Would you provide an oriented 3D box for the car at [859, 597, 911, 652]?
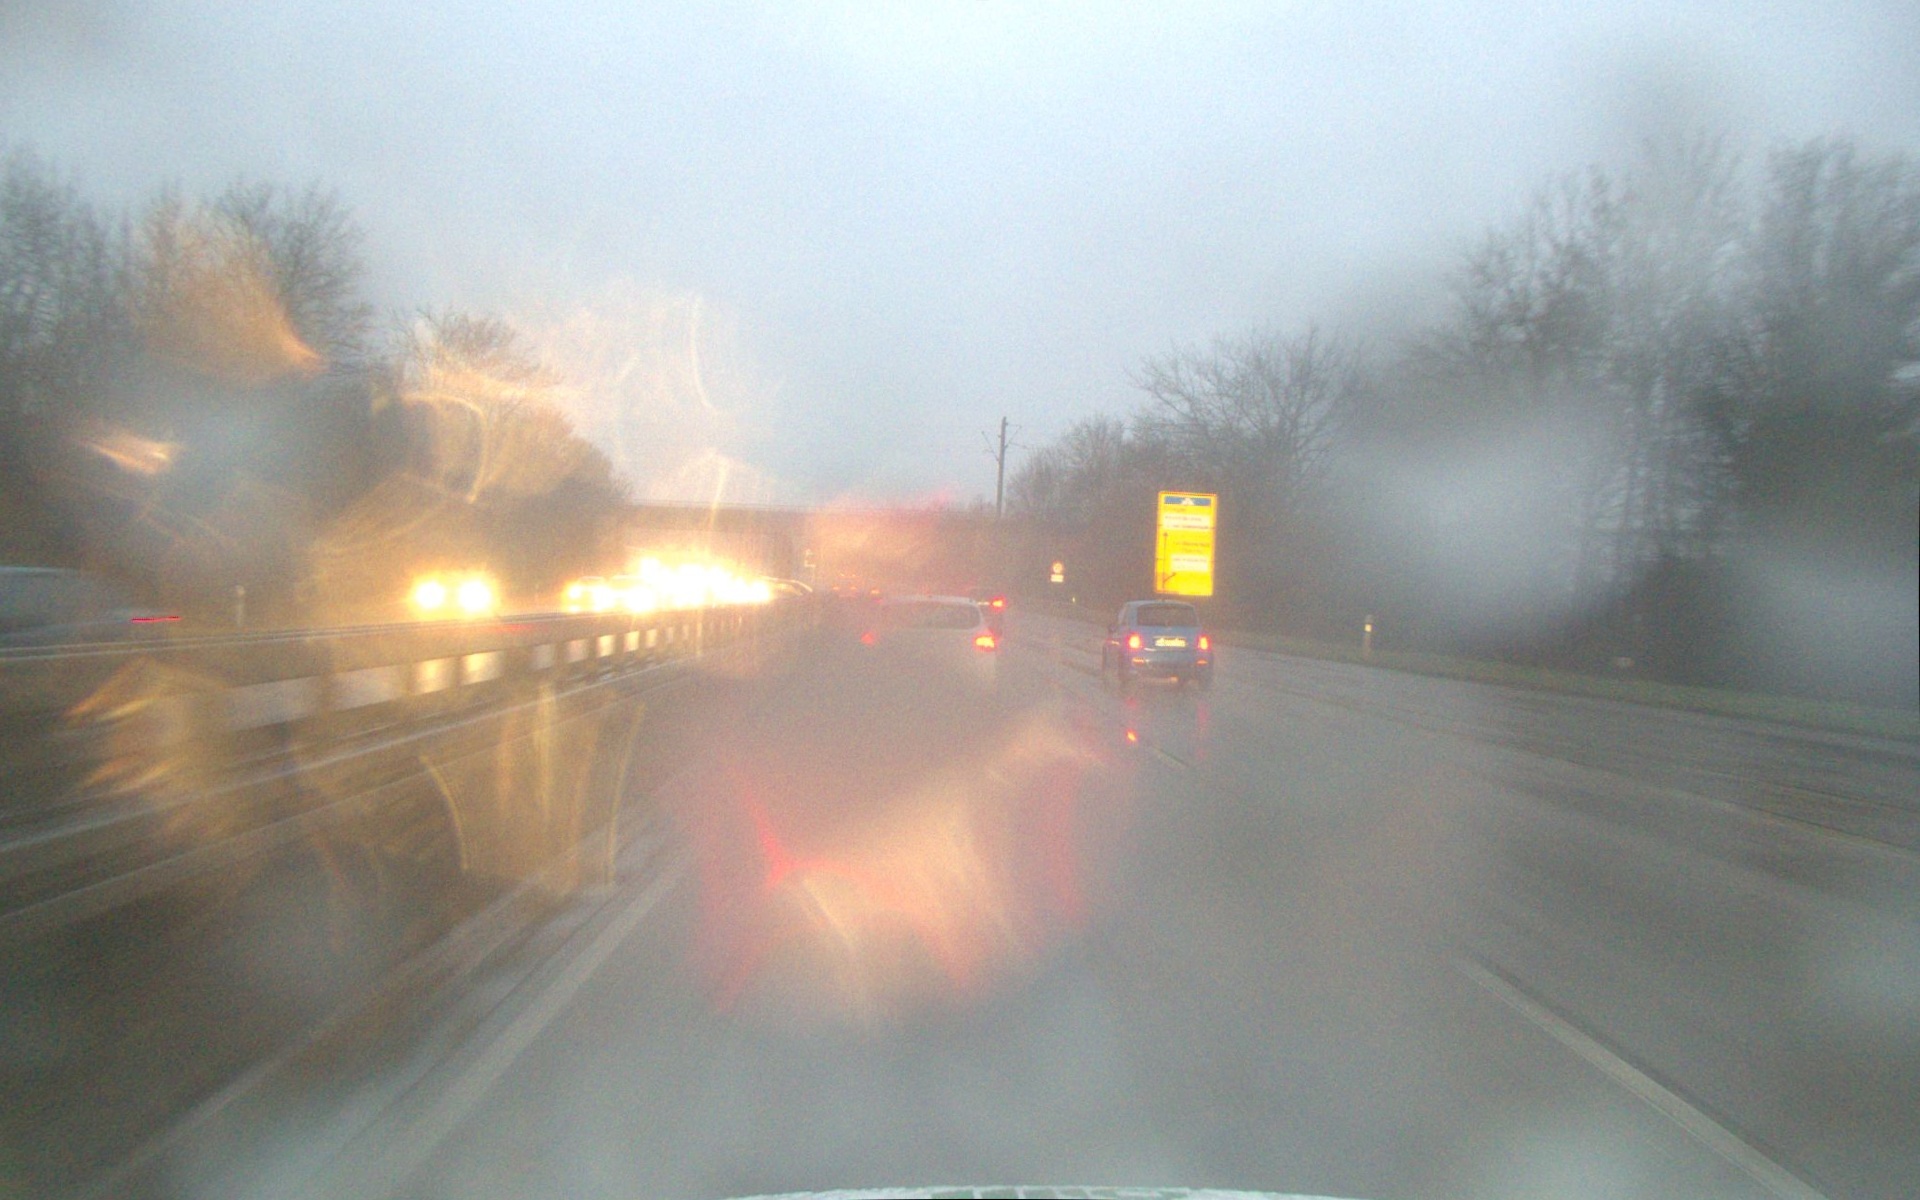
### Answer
[{"bbox_3d":[-3.011,0.931,65.832,1.954,2.049,3.997,2,0,-3],"label":"car"}]

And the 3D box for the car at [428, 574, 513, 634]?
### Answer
[{"bbox_3d":[-16.457,0.143,55.811,1.844,1.864,4.780,2,0,-6],"label":"car"}]

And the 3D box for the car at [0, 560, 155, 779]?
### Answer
[{"bbox_3d":[-7.600,0.454,11.762,1.747,1.536,4.134,2,0,-1],"label":"car"}]

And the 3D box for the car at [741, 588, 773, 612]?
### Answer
[{"bbox_3d":[-13.185,0.007,107.467,1.719,1.466,3.998,2,0,-3],"label":"car"}]

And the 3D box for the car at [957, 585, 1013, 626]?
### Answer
[{"bbox_3d":[1.028,0.259,70.385,1.896,1.573,3.768,-4,-1,-6],"label":"car"}]

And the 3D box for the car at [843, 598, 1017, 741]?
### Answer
[{"bbox_3d":[-0.315,0.822,21.336,1.983,1.602,4.000,2,0,1],"label":"car"}]

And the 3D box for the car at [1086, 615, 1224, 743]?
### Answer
[{"bbox_3d":[3.441,1.354,29.850,1.893,2.054,3.772,2,0,-1],"label":"car"}]

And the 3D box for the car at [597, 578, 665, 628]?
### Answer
[{"bbox_3d":[-12.976,0.118,65.478,1.845,1.864,4.785,2,0,-2],"label":"car"}]

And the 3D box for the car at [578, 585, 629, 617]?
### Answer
[{"bbox_3d":[-18.351,0.047,85.338,1.826,1.566,4.111,2,0,-3],"label":"car"}]
